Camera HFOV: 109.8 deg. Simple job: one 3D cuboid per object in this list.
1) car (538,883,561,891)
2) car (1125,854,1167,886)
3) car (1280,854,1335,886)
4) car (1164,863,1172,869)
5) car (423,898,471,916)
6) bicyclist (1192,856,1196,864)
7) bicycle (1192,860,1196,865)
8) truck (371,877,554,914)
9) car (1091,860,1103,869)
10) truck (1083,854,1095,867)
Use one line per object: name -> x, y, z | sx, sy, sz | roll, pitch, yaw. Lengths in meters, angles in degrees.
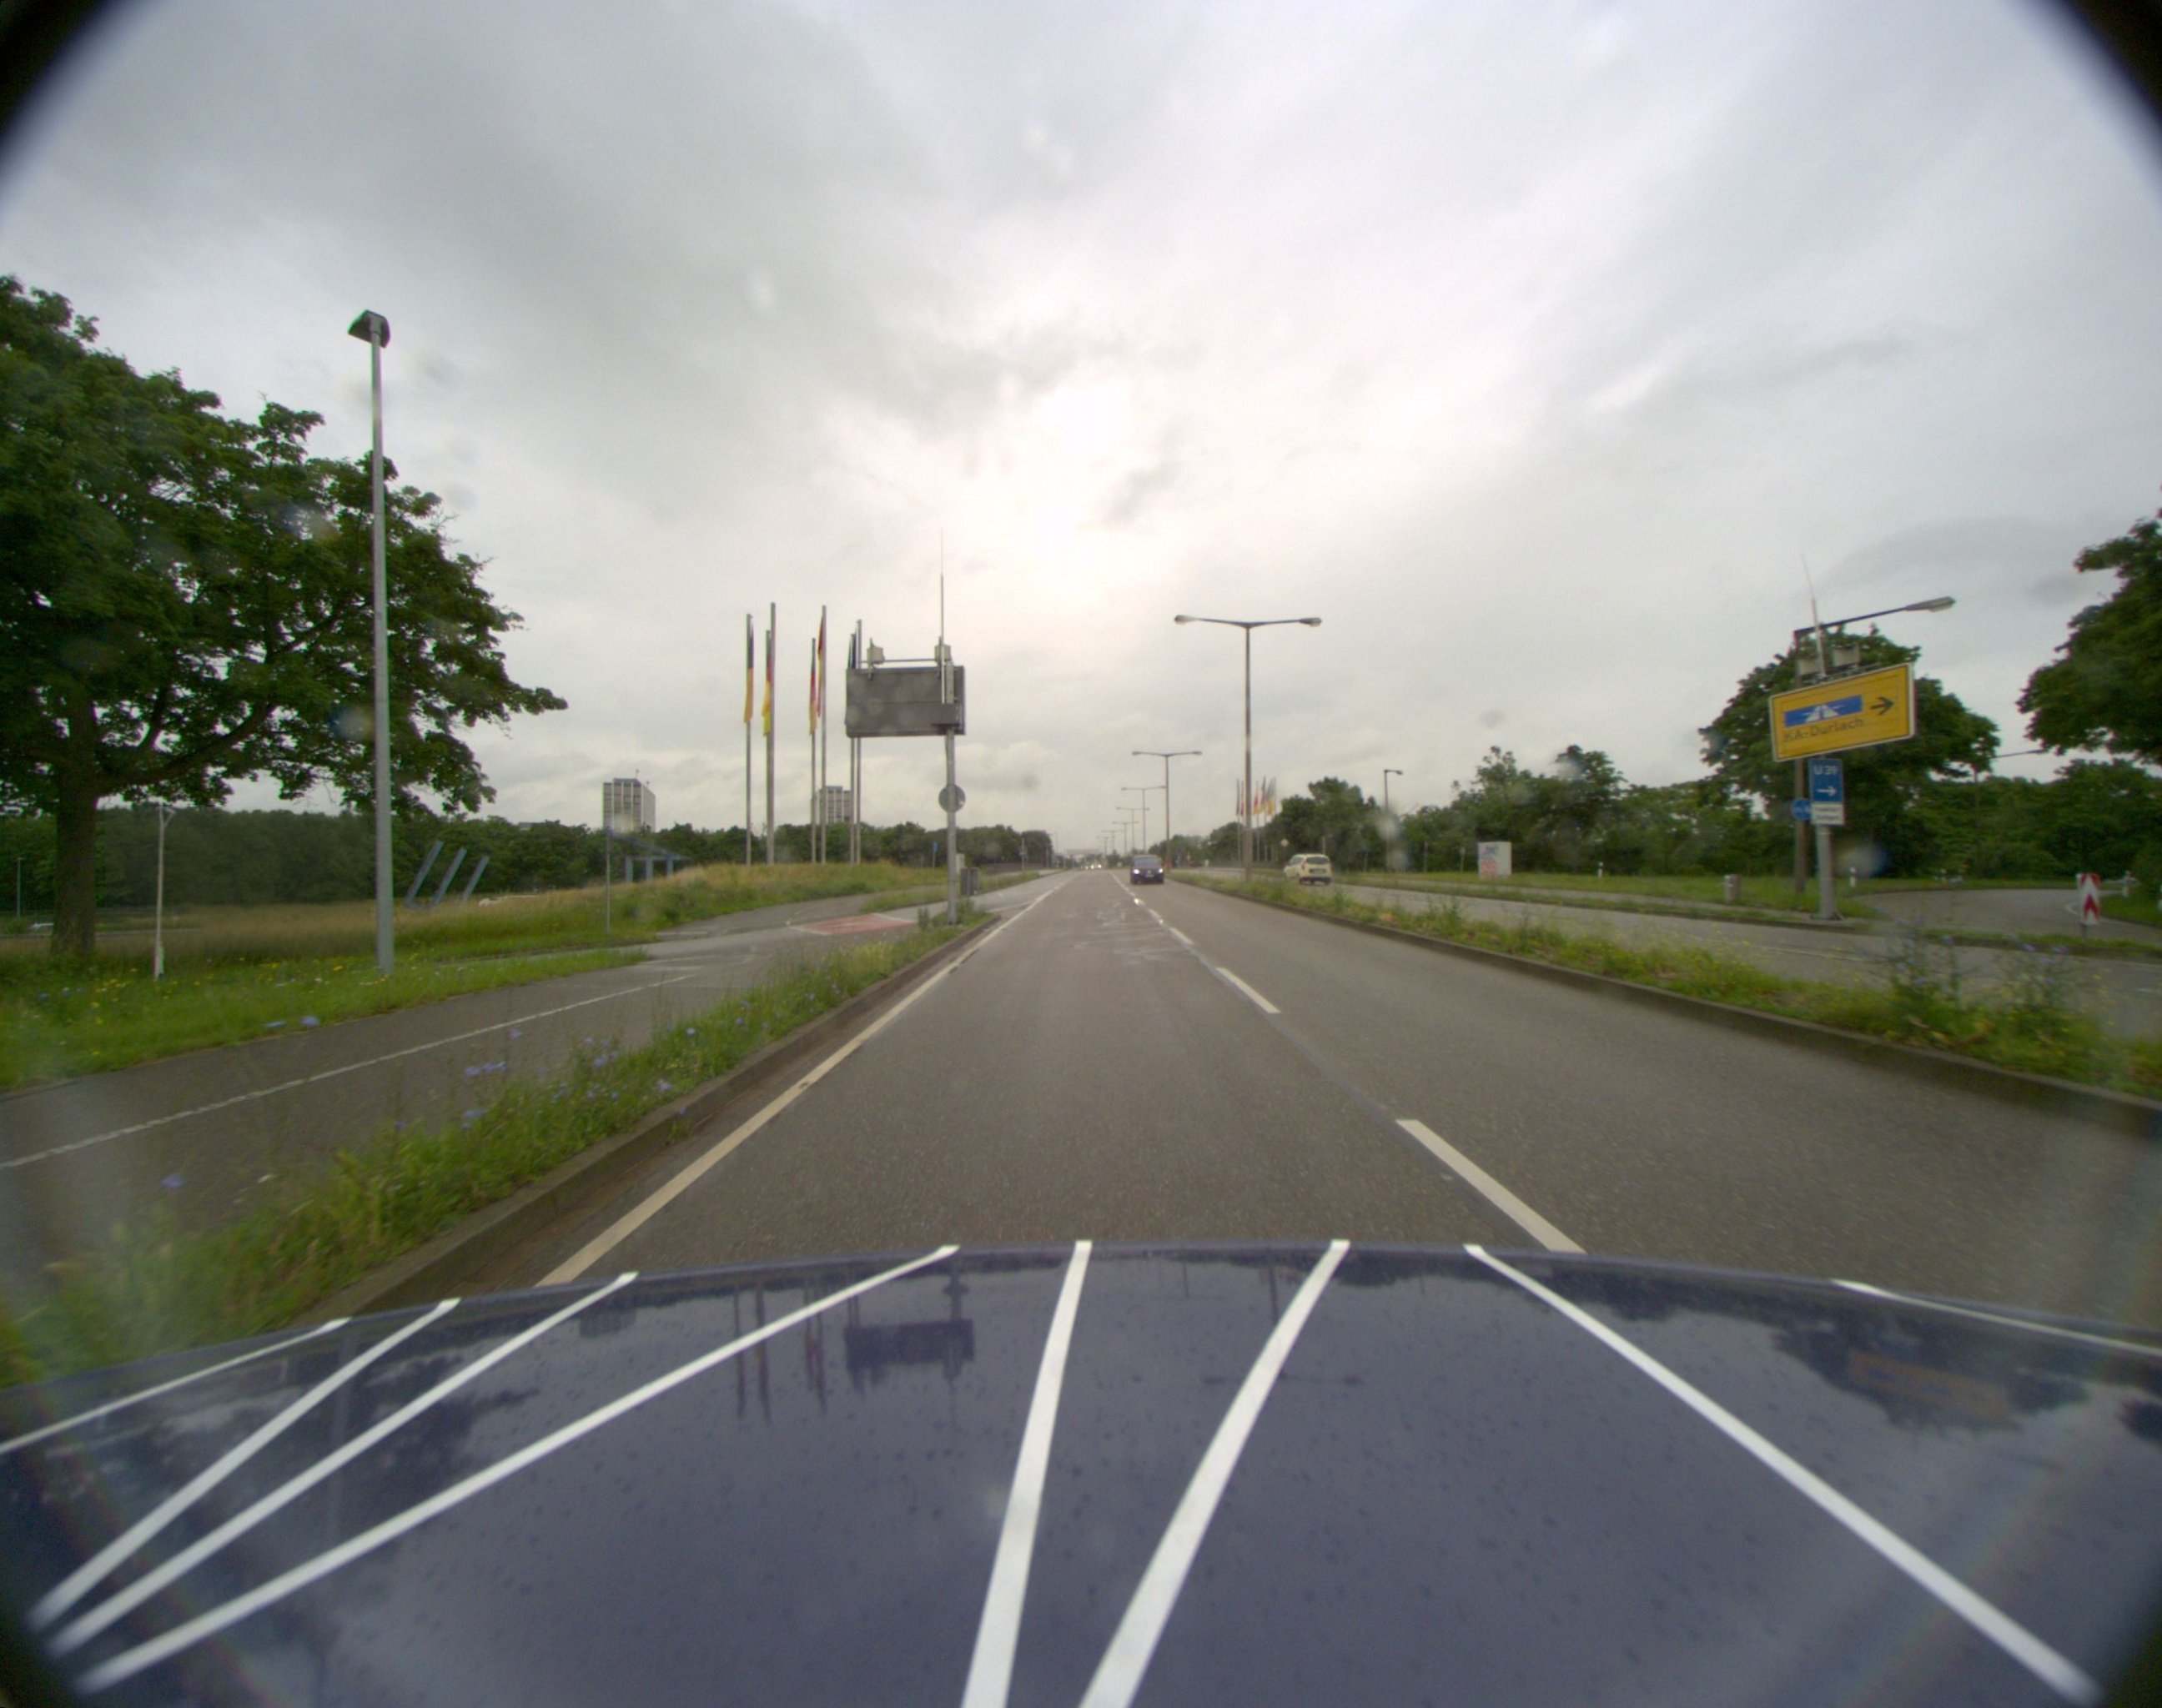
car -> -115.022, 7.150, 164.559 | 4.007, 1.622, 1.995 | -2, 0, -36
car -> 3.872, 0.939, 46.015 | 1.851, 1.740, 4.816 | -2, 0, -3
car -> 12.659, 0.864, 42.690 | 1.711, 1.620, 4.492 | 1, 0, 0
car -> 20.298, 2.803, 177.186 | 1.664, 1.440, 3.557 | 1, 0, 1
car -> -77.044, 6.419, 92.348 | 4.004, 1.820, 1.838 | -2, 0, -21
bicyclist -> 23.578, 1.229, 158.631 | 0.621, 1.491, 1.003 | -2, 0, 1
bicycle -> 23.585, 1.701, 158.641 | 0.611, 1.027, 2.001 | -3, 0, 1
truck -> -70.972, 4.709, 87.839 | 16.280, 3.370, 2.744 | -2, 0, -20
car -> 2.982, 2.013, 143.623 | 1.999, 1.700, 4.000 | -2, 0, -1
truck -> 2.034, 1.645, 199.860 | 2.860, 3.196, 8.097 | -2, 0, -1
